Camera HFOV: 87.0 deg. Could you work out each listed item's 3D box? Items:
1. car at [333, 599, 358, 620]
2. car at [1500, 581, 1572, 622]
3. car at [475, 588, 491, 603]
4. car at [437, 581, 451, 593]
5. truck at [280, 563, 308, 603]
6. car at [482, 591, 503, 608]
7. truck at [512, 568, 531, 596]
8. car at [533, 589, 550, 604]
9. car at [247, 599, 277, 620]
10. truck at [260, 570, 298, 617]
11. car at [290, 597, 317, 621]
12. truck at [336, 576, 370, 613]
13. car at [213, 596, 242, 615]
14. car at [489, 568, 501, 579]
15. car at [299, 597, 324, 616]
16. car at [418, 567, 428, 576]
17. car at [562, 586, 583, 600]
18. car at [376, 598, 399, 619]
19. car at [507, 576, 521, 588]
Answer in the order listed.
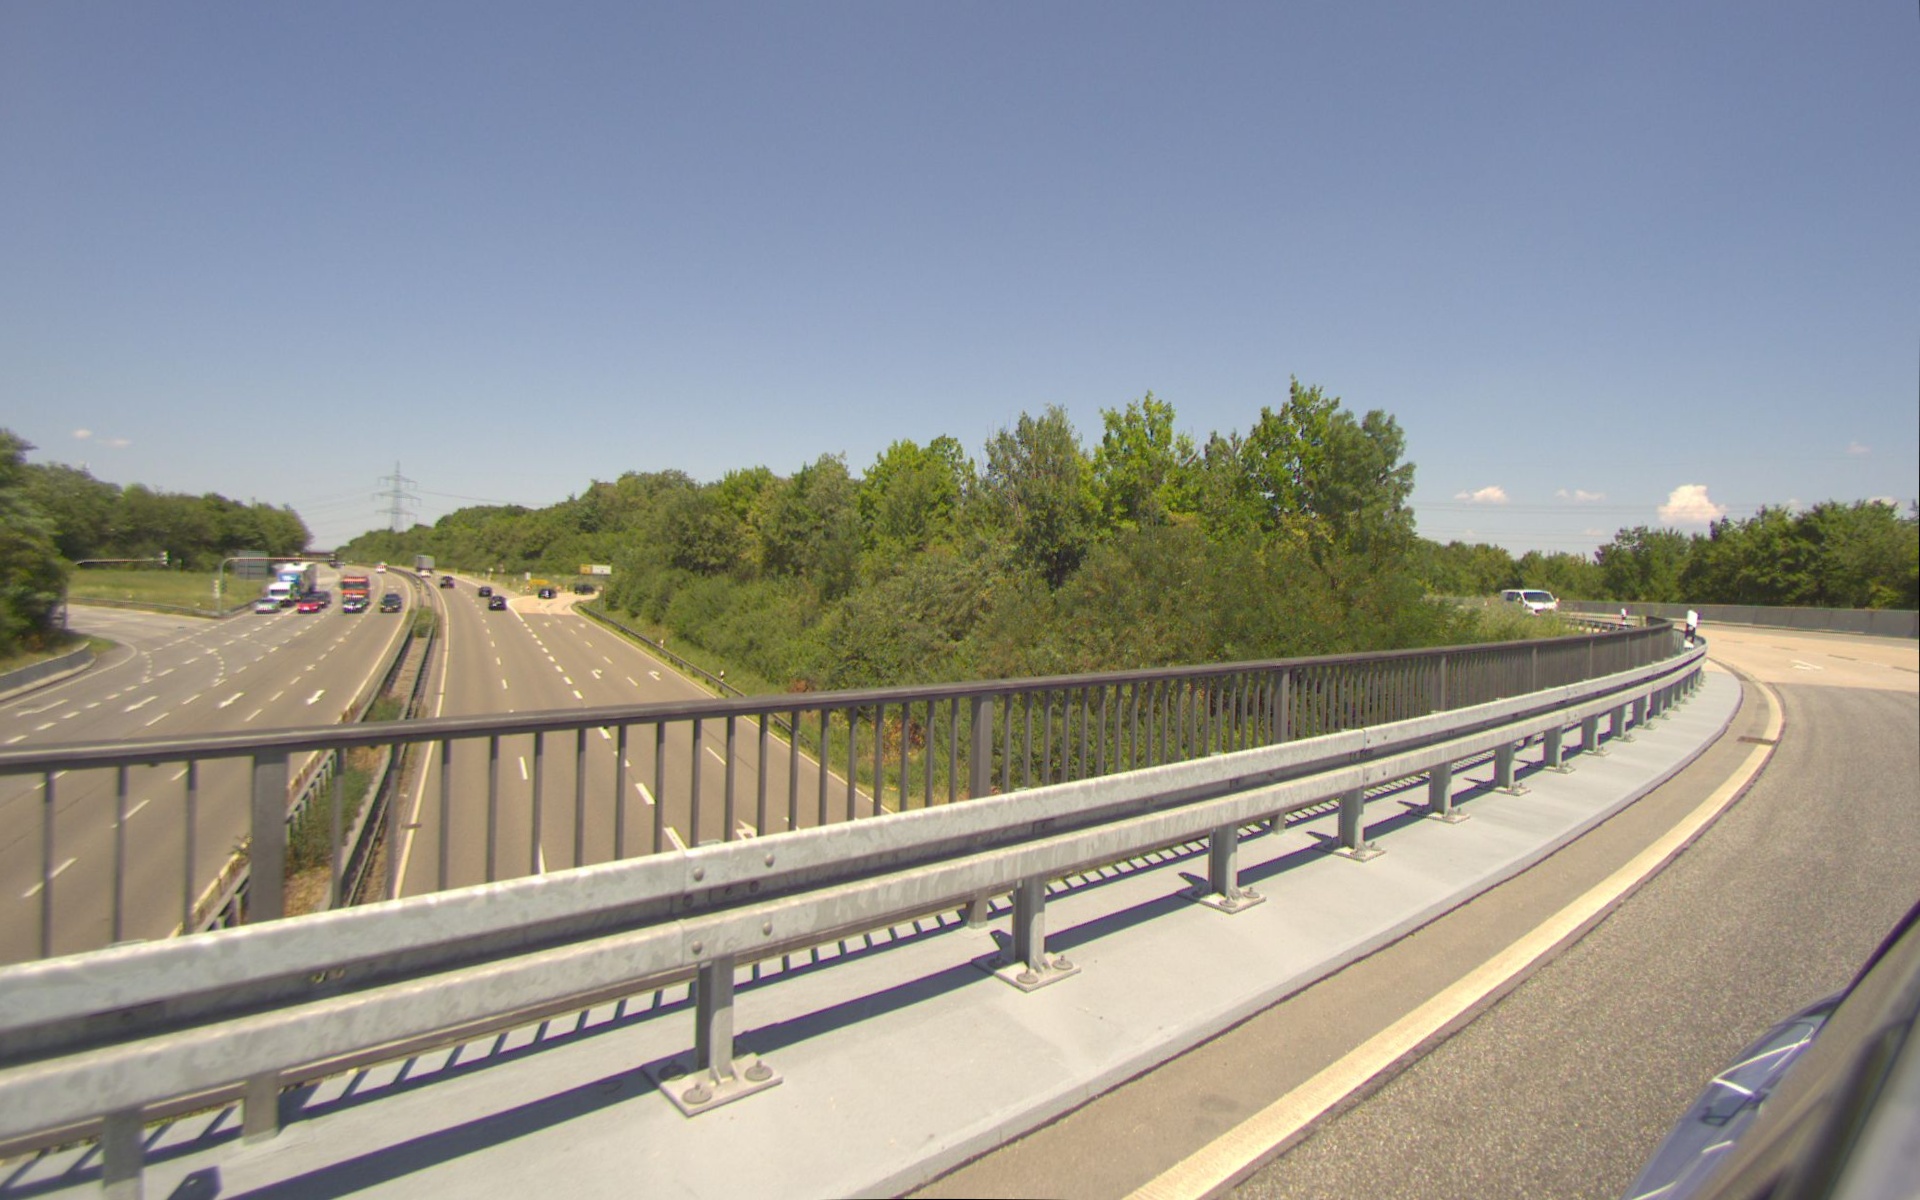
[{"bbox_3d":[-63.547,0.955,104.677,1.959,2.039,4.006,0,1,-28],"label":"car"},{"bbox_3d":[34.078,0.050,60.102,2.001,2.110,5.853,1,3,12],"label":"car"},{"bbox_3d":[-67.642,-0.640,143.529,1.959,2.039,4.006,0,1,-27],"label":"car"},{"bbox_3d":[-84.782,-2.149,166.357,1.959,2.039,4.006,0,1,-27],"label":"car"},{"bbox_3d":[-86.786,-2.238,131.987,2.374,5.031,11.093,0,1,-30],"label":"truck"},{"bbox_3d":[-54.148,-0.043,117.190,1.959,1.880,4.006,0,1,-27],"label":"car"},{"bbox_3d":[-66.414,-2.752,153.283,1.959,4.000,9.097,0,1,-27],"label":"truck"},{"bbox_3d":[-59.915,-0.494,144.792,1.959,2.039,4.006,0,1,-27],"label":"car"},{"bbox_3d":[-70.721,0.945,102.570,1.959,2.039,4.006,0,1,-28],"label":"car"},{"bbox_3d":[-76.343,-0.843,113.619,2.526,5.072,12.421,0,1,-30],"label":"truck"},{"bbox_3d":[-67.072,0.881,103.371,1.944,2.237,4.006,0,1,-28],"label":"car"},{"bbox_3d":[-70.015,-0.662,116.886,2.657,4.060,8.897,0,1,-27],"label":"truck"},{"bbox_3d":[-80.738,0.557,111.564,1.959,1.944,4.006,0,1,-28],"label":"car"},{"bbox_3d":[-85.303,-4.900,185.642,1.959,2.039,4.006,0,1,-27],"label":"car"},{"bbox_3d":[-70.542,0.685,110.135,1.959,2.039,4.006,0,1,-28],"label":"car"},{"bbox_3d":[-113.436,-6.021,213.765,1.959,2.039,4.006,0,1,-28],"label":"car"},{"bbox_3d":[-60.536,-1.108,158.243,1.961,2.039,4.002,0,1,-2],"label":"car"},{"bbox_3d":[-60.409,0.901,106.903,1.959,2.039,4.006,0,1,-28],"label":"car"},{"bbox_3d":[-76.591,-3.099,173.754,1.959,2.039,4.006,0,1,-27],"label":"car"}]
